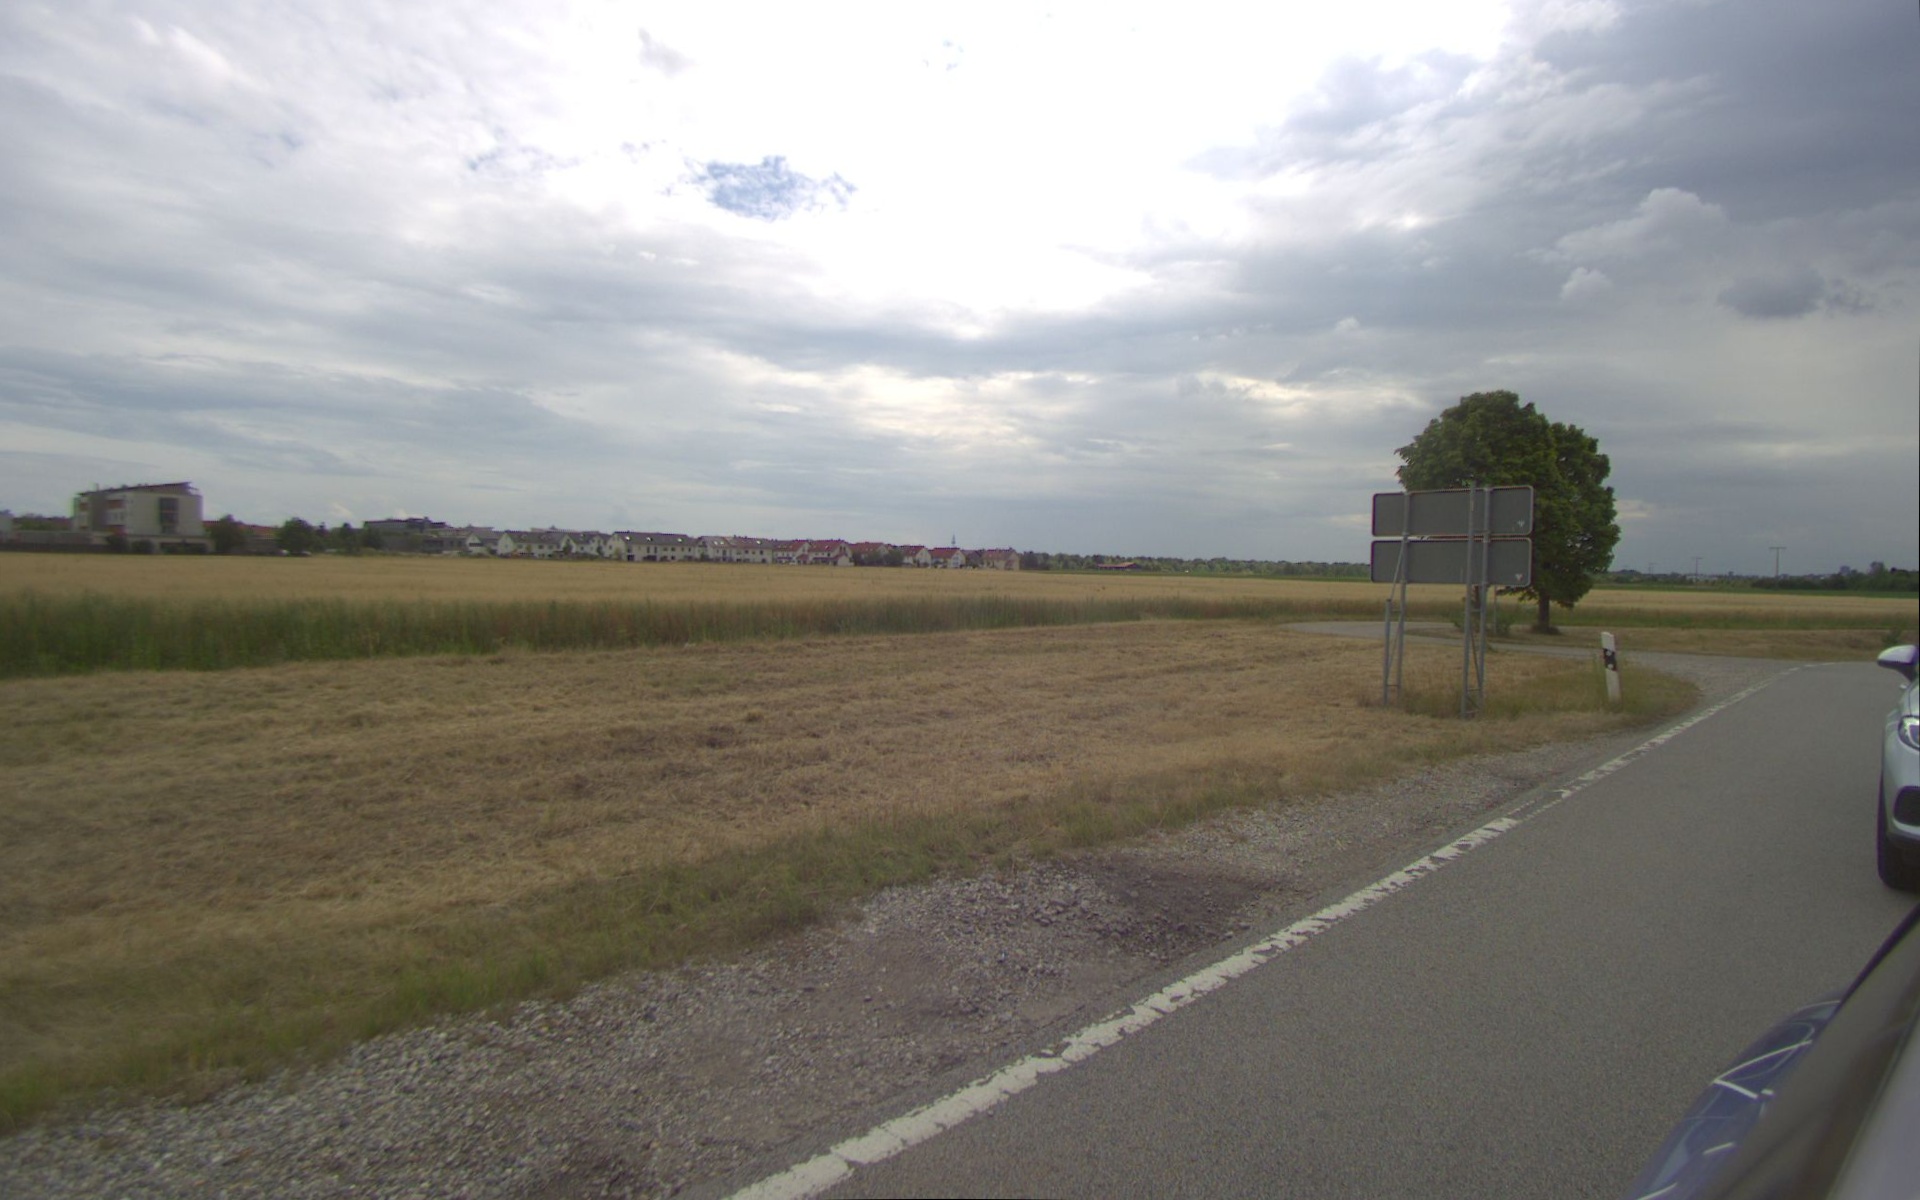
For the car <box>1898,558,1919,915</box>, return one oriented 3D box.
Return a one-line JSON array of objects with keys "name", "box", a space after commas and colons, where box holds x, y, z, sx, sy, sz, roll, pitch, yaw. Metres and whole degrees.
[{"name": "car", "box": [6.452, 0.630, 5.517, 1.832, 1.606, 4.378, 1, 1, 44]}]
